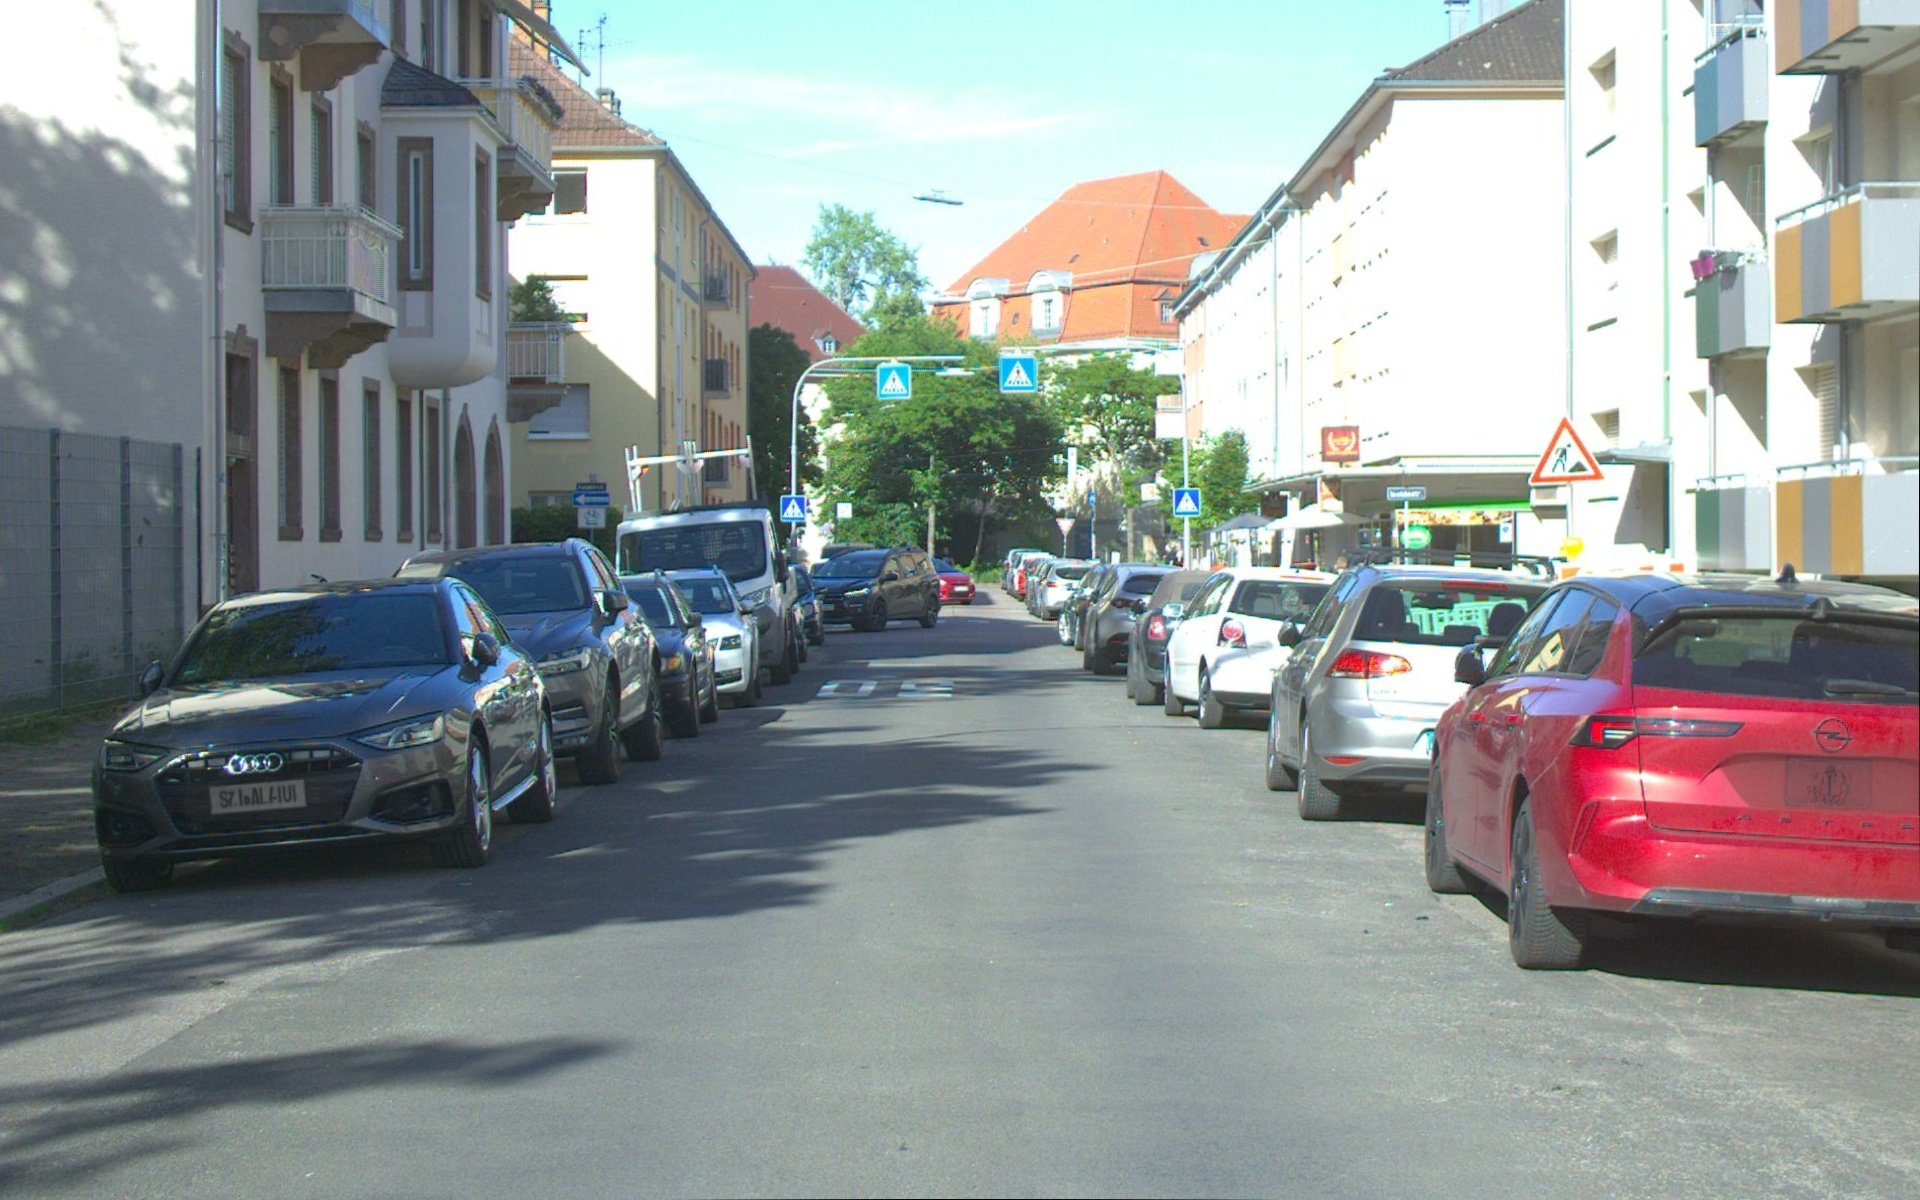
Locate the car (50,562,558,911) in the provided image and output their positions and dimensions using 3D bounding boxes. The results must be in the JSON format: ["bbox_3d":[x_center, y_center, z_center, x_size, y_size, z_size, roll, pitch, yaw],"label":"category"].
[{"bbox_3d":[-3.206,0.588,17.681,1.794,1.466,4.502,-3,1,-1],"label":"car"}]

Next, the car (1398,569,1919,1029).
[{"bbox_3d":[2.798,0.618,13.261,1.752,1.439,4.523,0,1,2],"label":"car"}]

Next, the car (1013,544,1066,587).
[{"bbox_3d":[2.671,-1.171,116.305,1.637,1.436,3.419,0,1,-1],"label":"car"}]

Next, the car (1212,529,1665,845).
[{"bbox_3d":[2.708,0.428,20.541,1.898,1.616,4.603,2,1,-1],"label":"car"}]

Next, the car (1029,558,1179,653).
[{"bbox_3d":[2.365,0.078,57.621,1.853,1.518,4.778,0,0,-5],"label":"car"}]

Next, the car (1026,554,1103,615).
[{"bbox_3d":[2.578,-0.403,84.704,1.845,1.436,3.419,0,1,2],"label":"car"}]

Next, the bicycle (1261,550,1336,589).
[{"bbox_3d":[8.706,-0.790,88.440,1.806,0.964,0.674,-1,1,-10],"label":"bicycle"}]

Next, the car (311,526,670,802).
[{"bbox_3d":[-3.185,0.369,24.282,1.878,1.658,4.932,-3,1,-1],"label":"car"}]

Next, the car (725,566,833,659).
[{"bbox_3d":[-3.123,0.195,59.749,1.703,1.411,4.375,-5,0,-2],"label":"car"}]

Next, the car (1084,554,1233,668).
[{"bbox_3d":[2.623,0.114,46.149,1.792,1.466,4.339,0,1,1],"label":"car"}]

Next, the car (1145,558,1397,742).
[{"bbox_3d":[2.819,0.413,31.912,1.685,1.458,3.820,5,1,-3],"label":"car"}]

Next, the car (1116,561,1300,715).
[{"bbox_3d":[2.596,0.362,36.679,1.688,1.462,3.583,2,1,1],"label":"car"}]

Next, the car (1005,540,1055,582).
[{"bbox_3d":[2.470,-1.397,122.340,1.637,1.436,3.419,0,1,-1],"label":"car"}]

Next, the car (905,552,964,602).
[{"bbox_3d":[-0.757,-0.705,103.586,1.697,1.436,3.419,0,1,0],"label":"car"}]

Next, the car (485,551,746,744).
[{"bbox_3d":[-2.956,0.366,30.342,1.792,1.557,4.459,0,1,1],"label":"car"}]

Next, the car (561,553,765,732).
[{"bbox_3d":[-3.096,0.392,36.647,1.792,1.535,4.642,-6,2,-2],"label":"car"}]

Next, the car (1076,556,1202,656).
[{"bbox_3d":[2.697,0.077,52.377,1.645,1.455,3.940,0,0,-1],"label":"car"}]

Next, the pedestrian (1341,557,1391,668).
[{"bbox_3d":[5.337,0.155,45.223,0.575,1.428,0.471,-2,1,2],"label":"pedestrian"}]

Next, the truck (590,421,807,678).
[{"bbox_3d":[-3.212,-0.626,43.749,2.259,2.976,7.276,-1,1,-1],"label":"truck"}]

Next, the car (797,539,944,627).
[{"bbox_3d":[-1.719,-0.352,67.662,1.822,1.628,4.254,0,1,14],"label":"car"}]

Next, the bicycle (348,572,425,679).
[{"bbox_3d":[-7.258,0.306,43.564,0.569,1.275,2.341,0,2,0],"label":"bicycle"}]
